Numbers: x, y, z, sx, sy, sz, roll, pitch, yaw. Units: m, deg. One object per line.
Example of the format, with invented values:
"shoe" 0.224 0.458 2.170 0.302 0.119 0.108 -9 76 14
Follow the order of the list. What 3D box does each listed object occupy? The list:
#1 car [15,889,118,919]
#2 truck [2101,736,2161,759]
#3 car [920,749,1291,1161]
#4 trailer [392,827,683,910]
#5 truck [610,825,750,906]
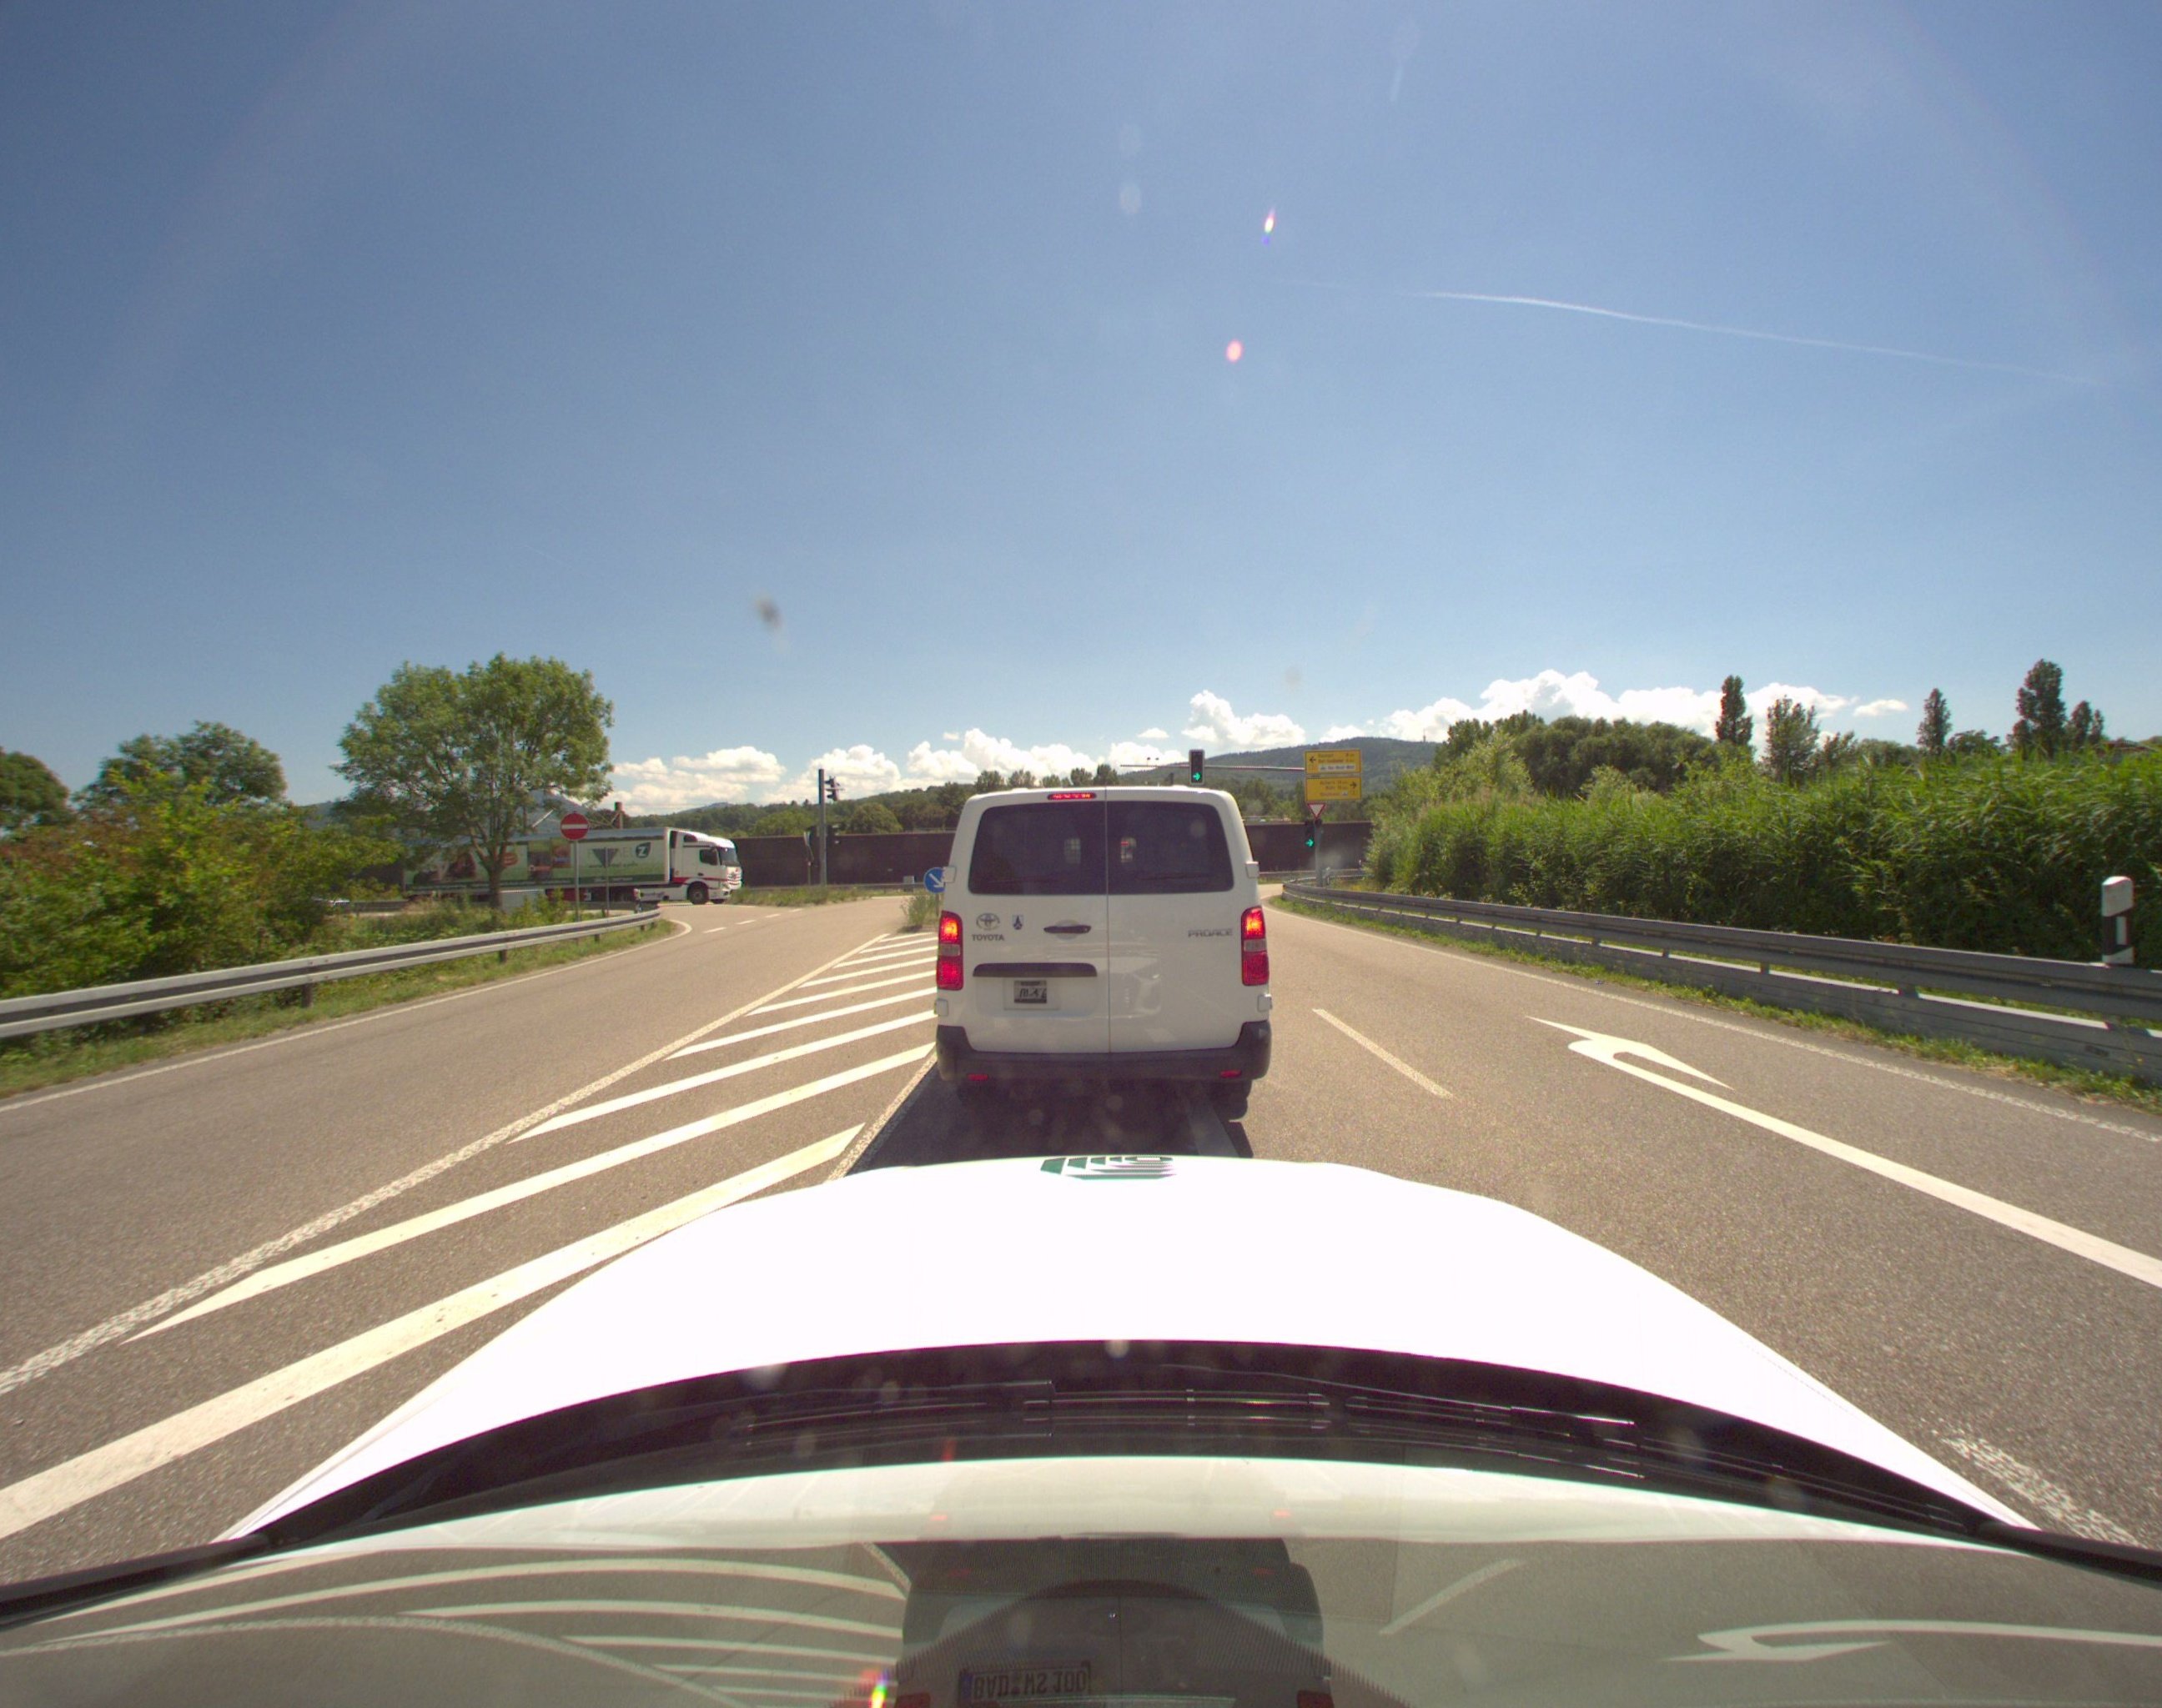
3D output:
"car" -53.903 2.649 43.306 3.462 1.464 1.554 -1 -1 0
"truck" 132.563 -13.346 101.509 2.335 2.014 6.923 -1 -1 2
"car" 0.178 0.520 6.059 1.808 2.017 4.001 -1 -1 2
"trailer" -28.222 0.740 42.736 13.098 3.954 3.061 -1 -1 0
"truck" -20.964 0.602 42.793 5.746 3.954 3.062 -1 -1 0
